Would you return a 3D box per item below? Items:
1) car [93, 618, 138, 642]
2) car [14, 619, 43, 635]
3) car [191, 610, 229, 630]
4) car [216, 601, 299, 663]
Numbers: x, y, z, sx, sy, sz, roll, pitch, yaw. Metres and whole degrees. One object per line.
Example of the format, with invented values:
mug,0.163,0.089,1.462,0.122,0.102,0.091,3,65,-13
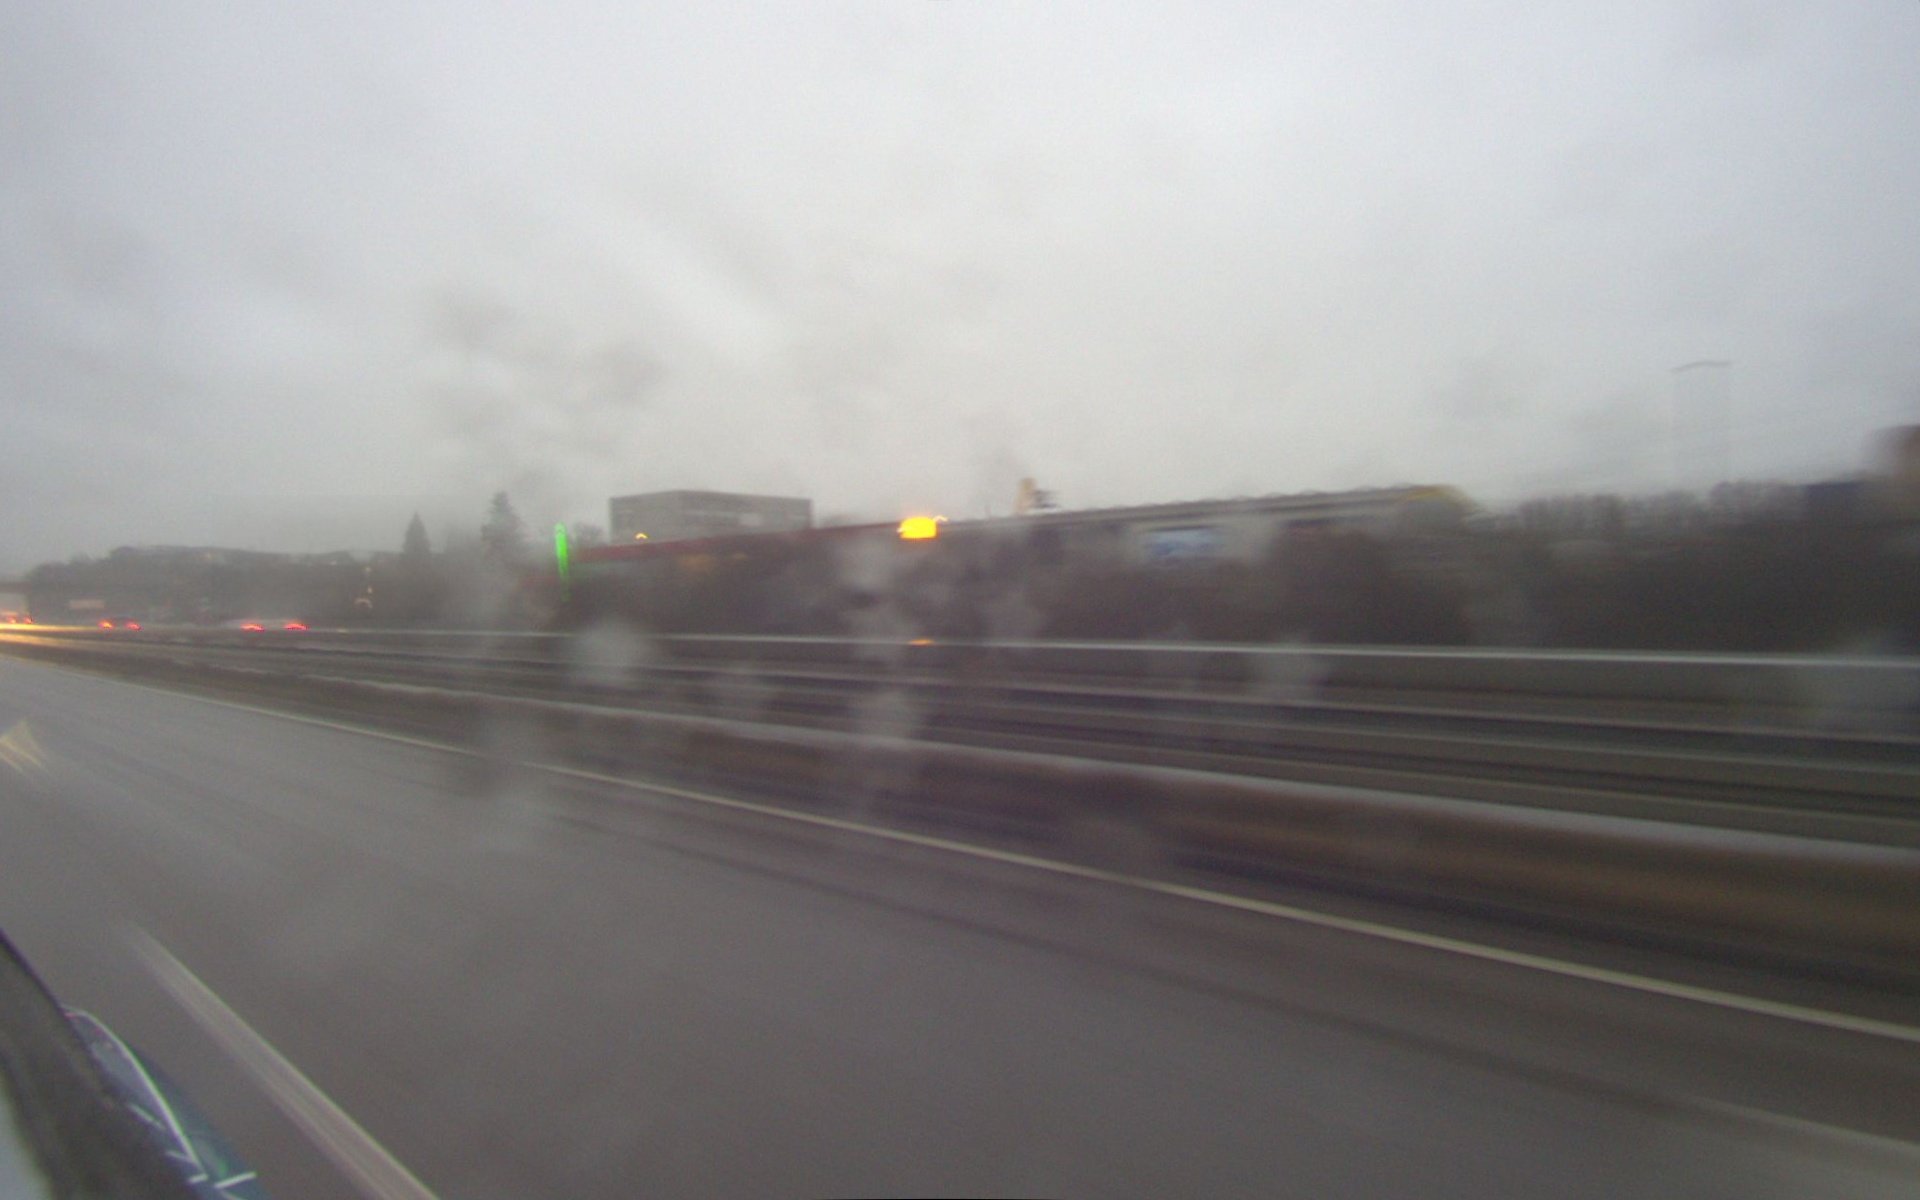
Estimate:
car,-55.960,1.968,67.070,3.999,1.519,1.718,-1,1,42
car,-92.776,2.663,100.810,3.999,1.519,1.718,-1,1,42
car,-80.090,2.139,108.016,4.956,2.029,2.133,-1,1,40
car,-30.636,1.306,44.083,4.887,2.313,1.907,3,3,42
